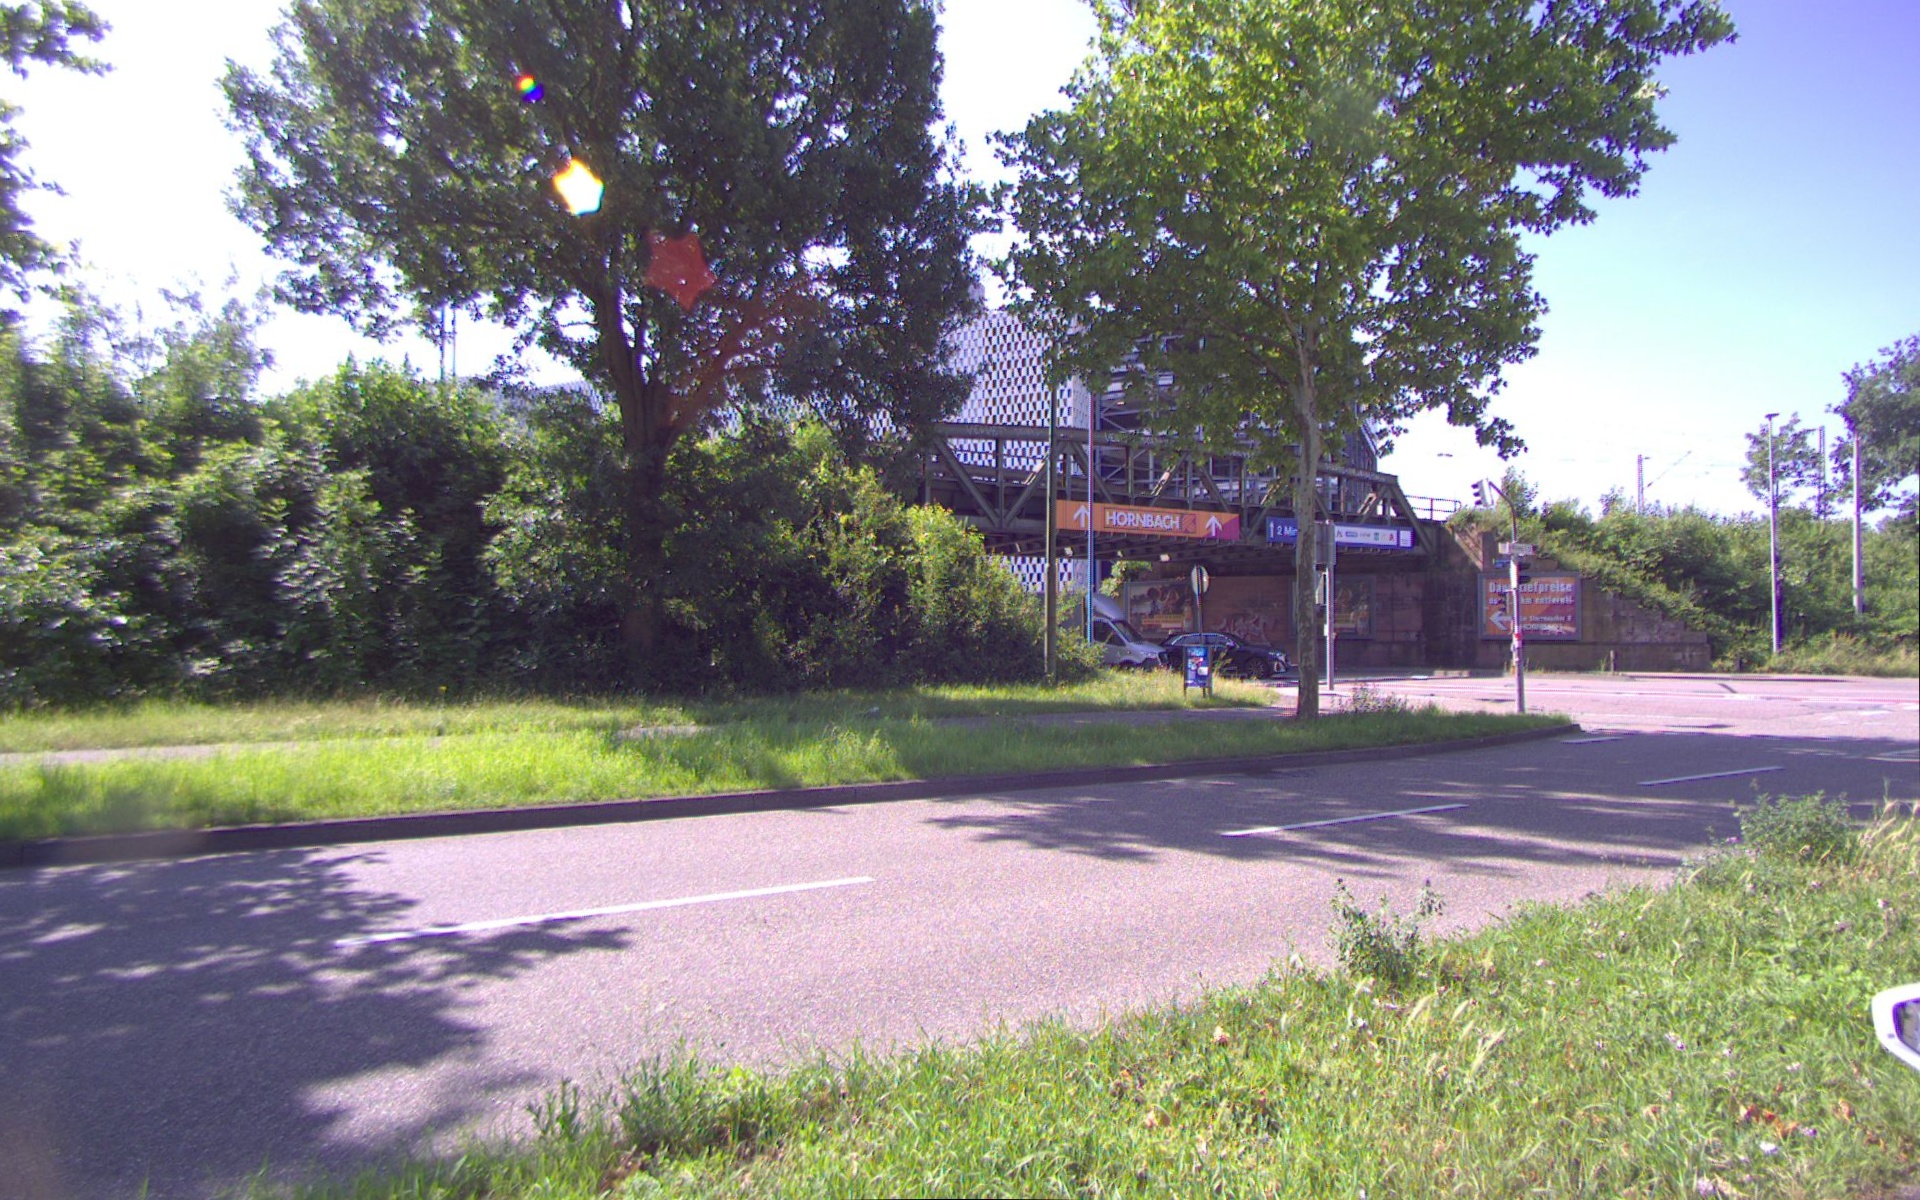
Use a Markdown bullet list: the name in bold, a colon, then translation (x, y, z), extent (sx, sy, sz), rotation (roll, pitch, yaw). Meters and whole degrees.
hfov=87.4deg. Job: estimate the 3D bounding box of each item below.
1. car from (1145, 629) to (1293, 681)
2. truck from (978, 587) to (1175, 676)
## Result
- **car**: translation (9.262, 1.932, 36.022), extent (4.957, 1.617, 1.526), rotation (1, -1, 24)
- **truck**: translation (3.888, 1.008, 34.003), extent (6.286, 2.748, 1.998), rotation (1, -1, 26)
